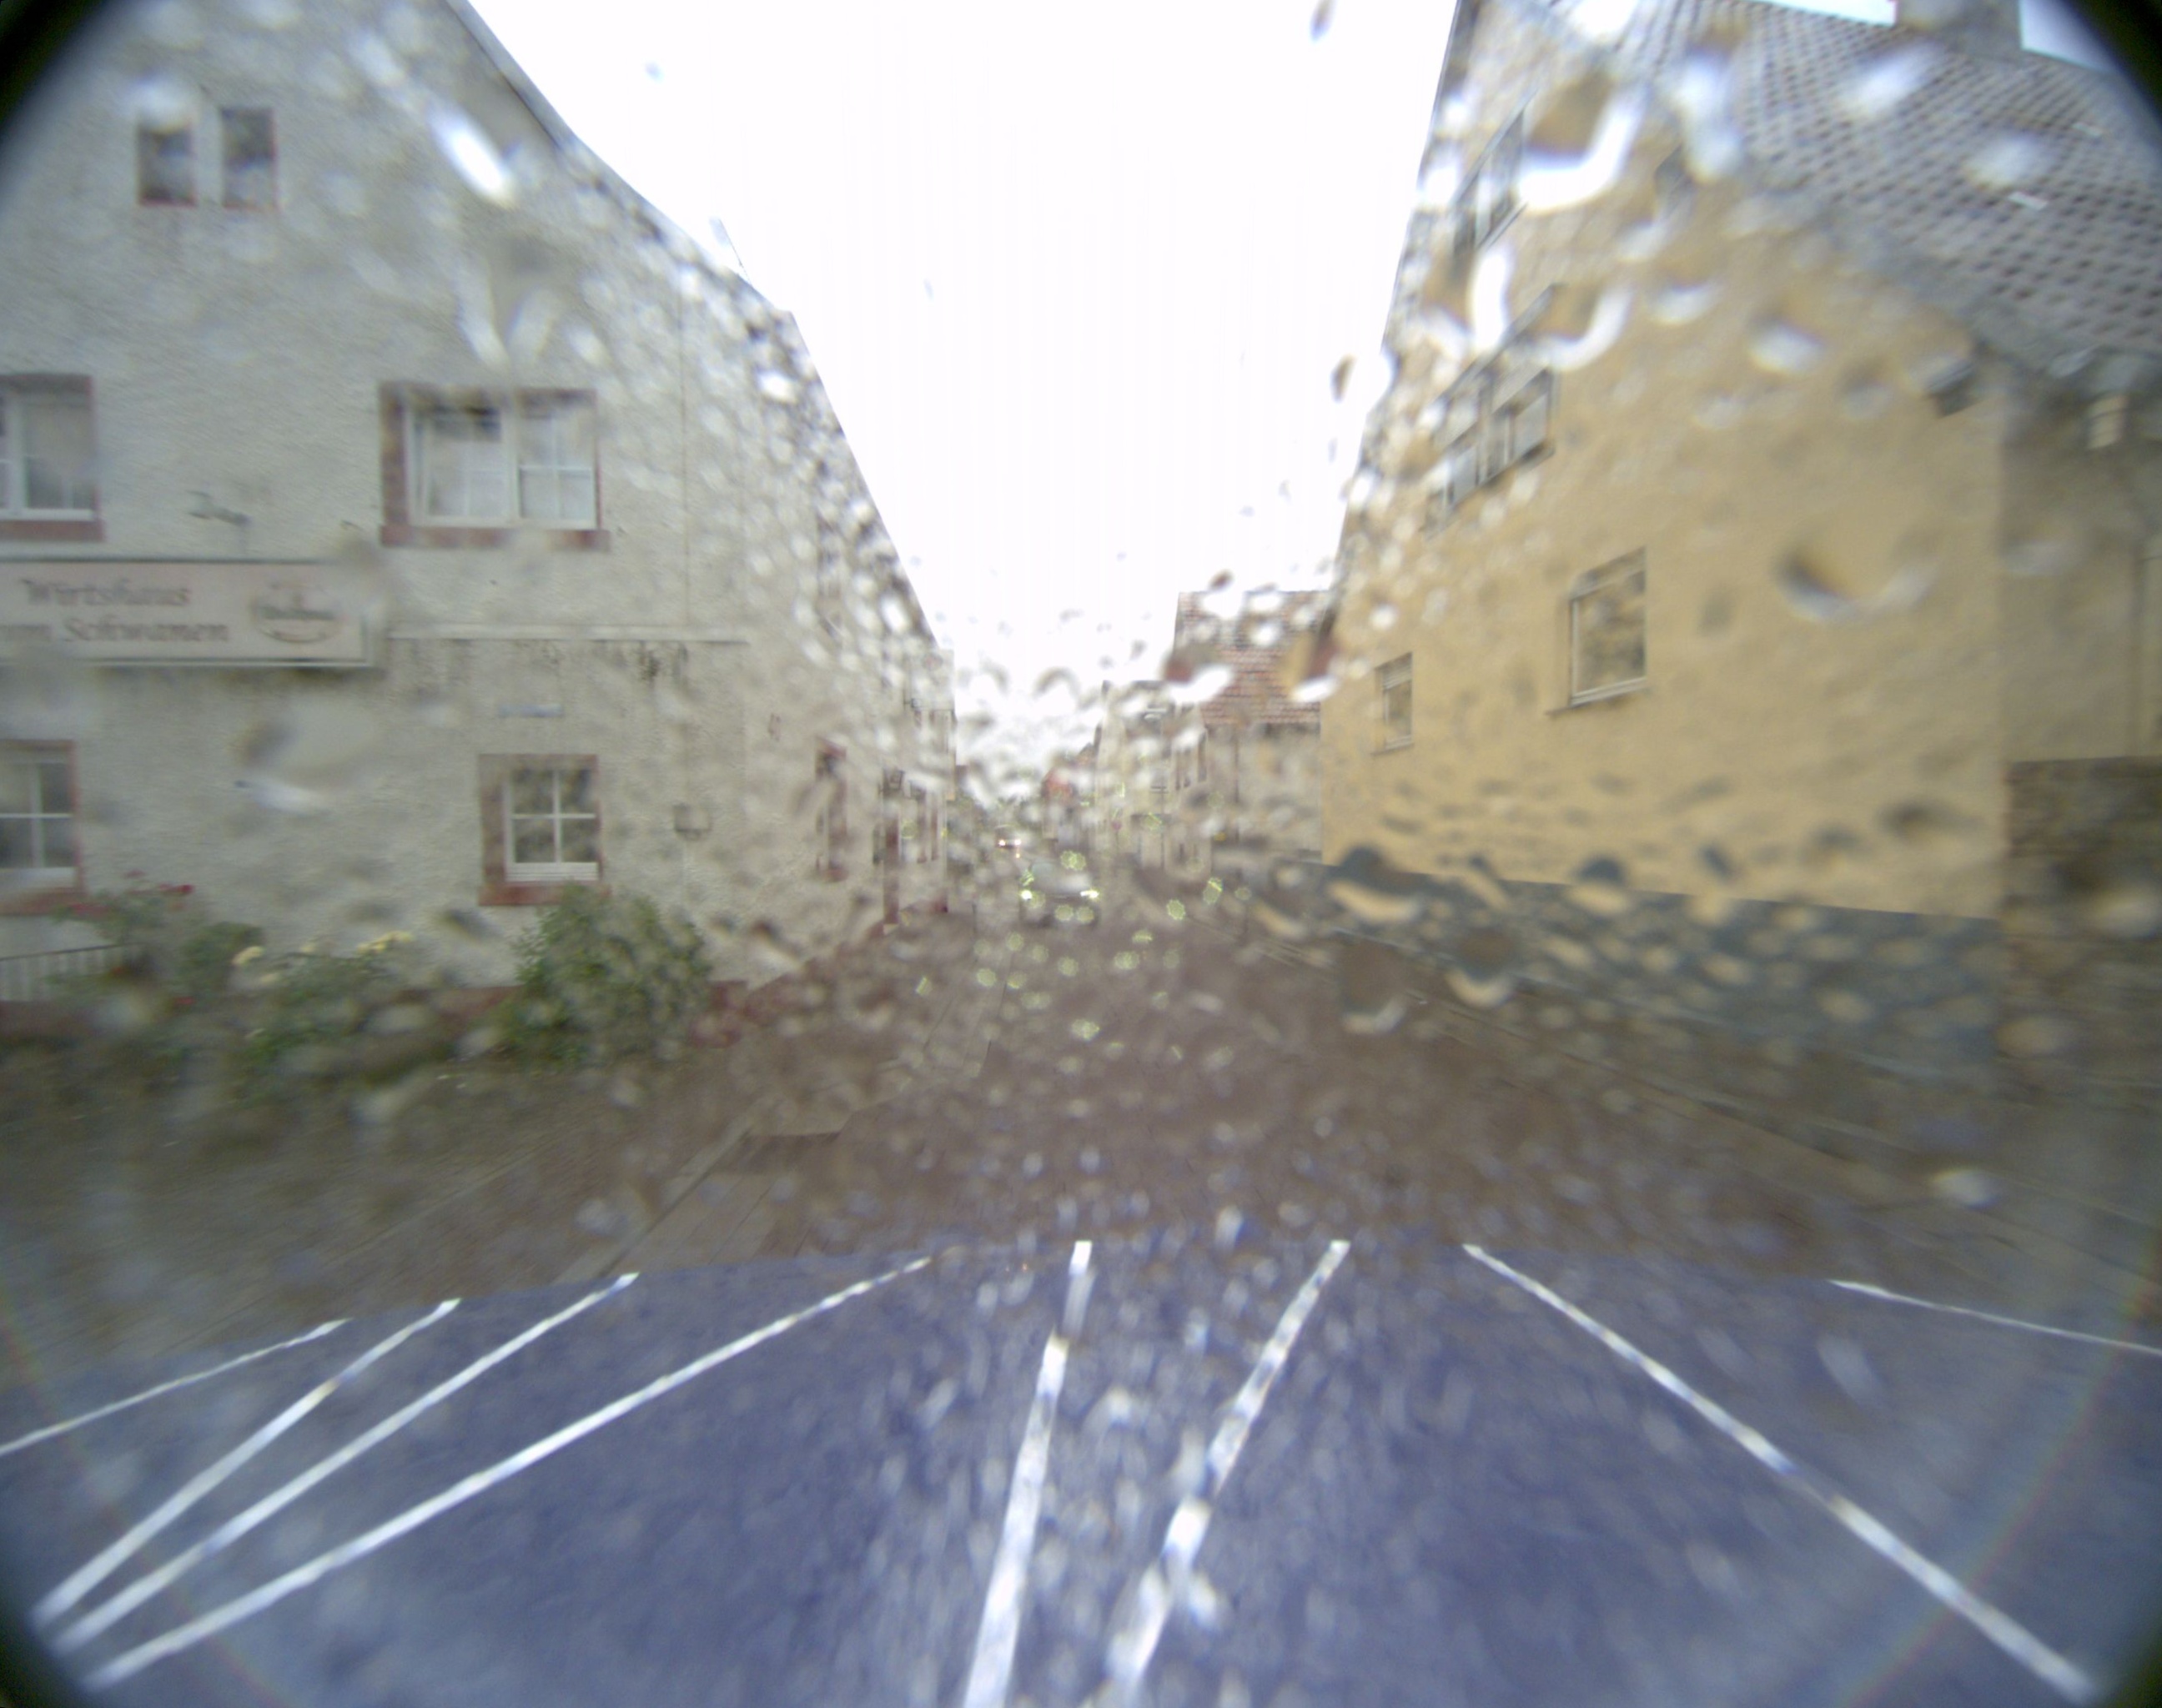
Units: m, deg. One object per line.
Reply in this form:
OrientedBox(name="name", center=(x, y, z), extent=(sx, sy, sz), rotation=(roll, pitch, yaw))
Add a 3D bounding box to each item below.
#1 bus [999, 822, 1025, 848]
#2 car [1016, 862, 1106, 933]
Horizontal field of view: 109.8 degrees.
OrientedBox(name="bus", center=(-10.268, -2.891, 111.761), extent=(2.895, 3.590, 11.965), rotation=(-1, 2, -10))
OrientedBox(name="car", center=(-0.461, 0.923, 17.543), extent=(1.801, 1.341, 3.737), rotation=(-2, 0, -2))
